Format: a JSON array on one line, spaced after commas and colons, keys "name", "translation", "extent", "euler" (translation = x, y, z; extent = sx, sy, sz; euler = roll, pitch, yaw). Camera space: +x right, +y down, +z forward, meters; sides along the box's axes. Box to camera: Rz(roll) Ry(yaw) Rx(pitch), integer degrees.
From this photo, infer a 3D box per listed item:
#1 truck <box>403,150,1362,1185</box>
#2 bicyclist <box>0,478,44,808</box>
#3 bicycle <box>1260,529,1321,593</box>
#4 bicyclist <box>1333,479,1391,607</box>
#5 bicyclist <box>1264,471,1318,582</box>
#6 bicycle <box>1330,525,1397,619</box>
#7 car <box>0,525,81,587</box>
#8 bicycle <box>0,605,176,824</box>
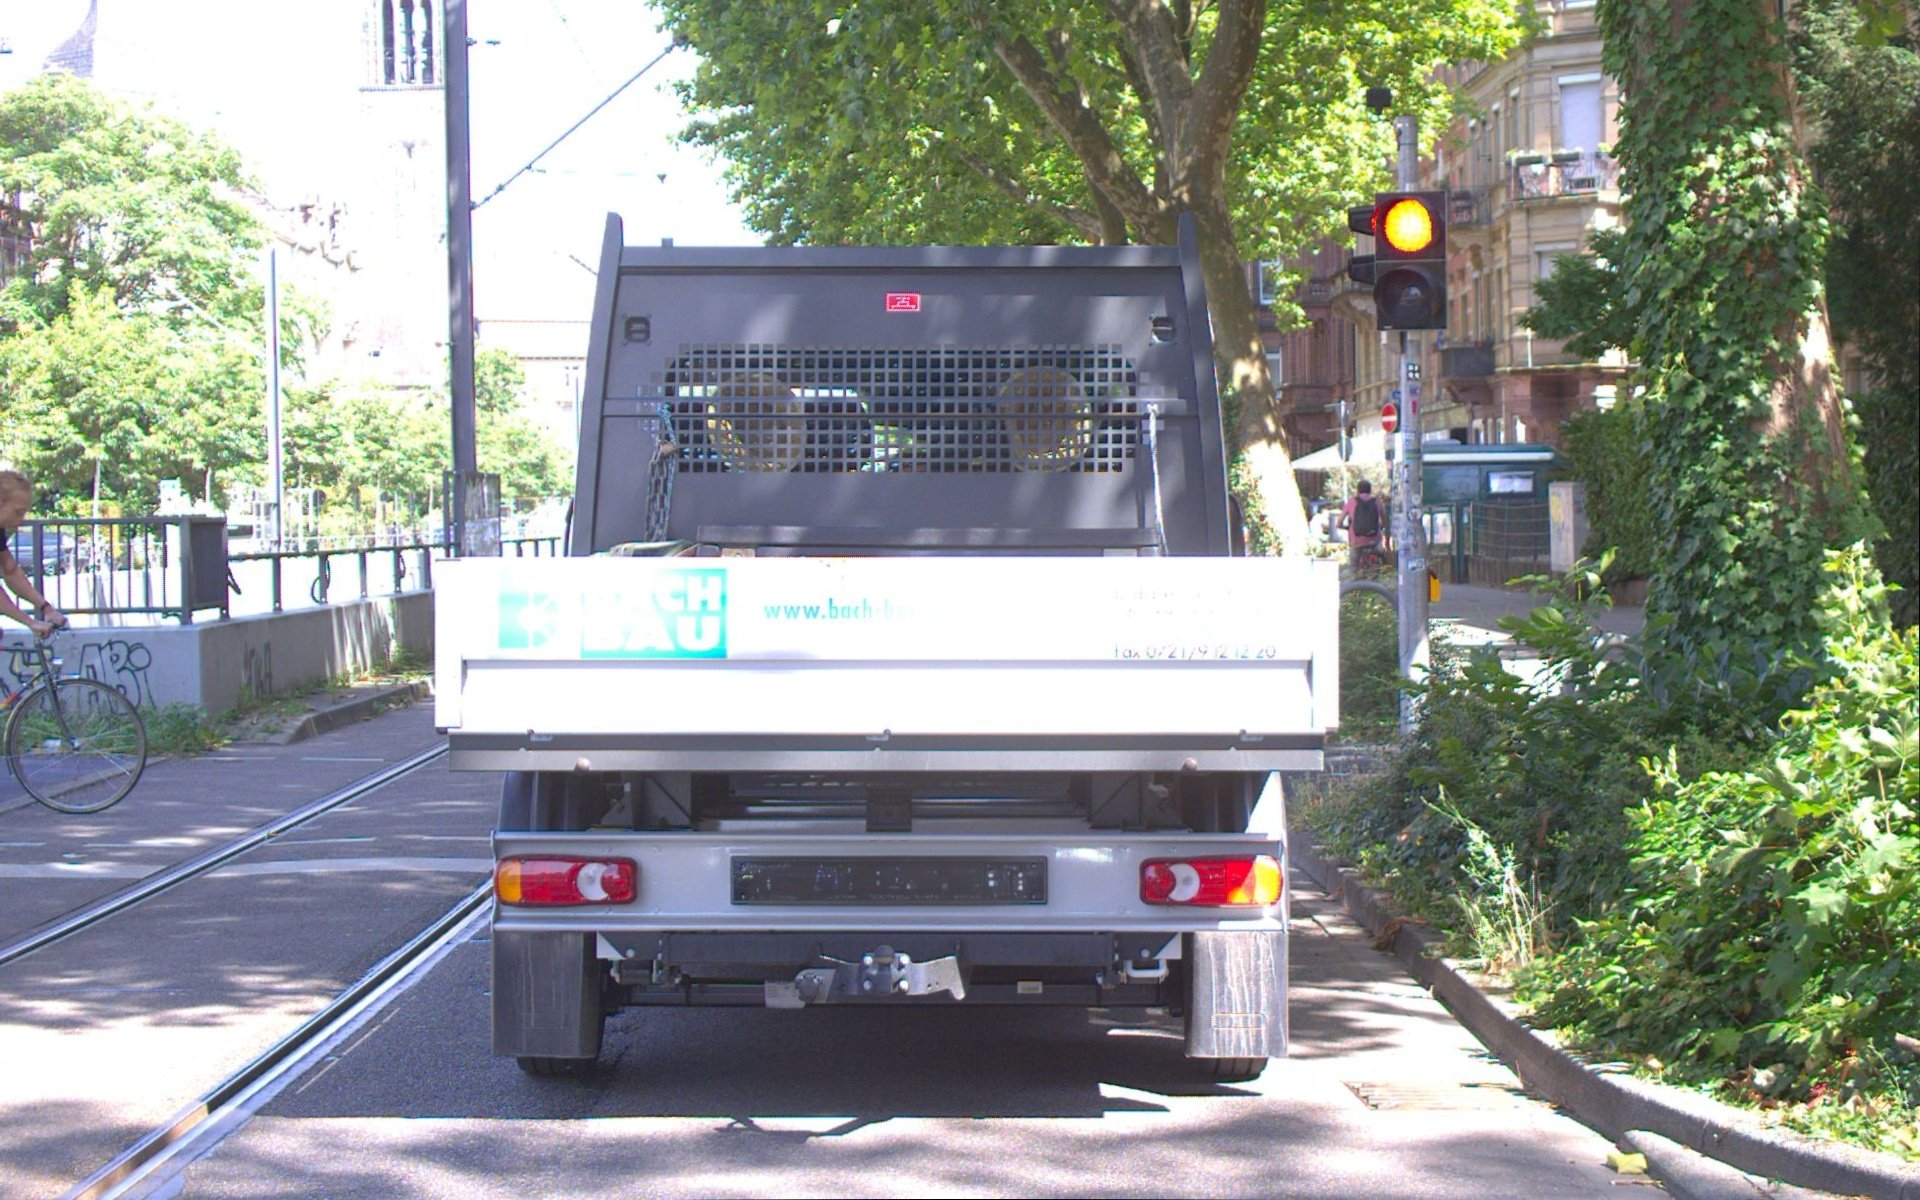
[{"name": "truck", "translation": [-0.170, 0.099, 9.993], "extent": [2.138, 2.311, 4.402], "euler": [1, 1, 0]}, {"name": "bicyclist", "translation": [-5.004, 0.193, 17.151], "extent": [0.692, 1.617, 0.625], "euler": [2, 1, -4]}, {"name": "bicycle", "translation": [4.736, -0.573, 49.338], "extent": [0.675, 0.878, 2.163], "euler": [-1, 2, 1]}, {"name": "bicyclist", "translation": [4.996, -0.711, 42.718], "extent": [0.638, 1.568, 0.579], "euler": [-1, 1, 1]}, {"name": "bicyclist", "translation": [4.727, -1.055, 49.183], "extent": [0.680, 1.558, 0.777], "euler": [-1, 1, 1]}, {"name": "bicycle", "translation": [5.010, -0.365, 42.746], "extent": [0.565, 1.108, 2.310], "euler": [-1, 2, 1]}, {"name": "car", "translation": [-23.531, -1.123, 86.717], "extent": [1.770, 1.493, 4.001], "euler": [-1, 1, -2]}, {"name": "bicycle", "translation": [-4.940, 0.553, 17.156], "extent": [1.919, 1.045, 0.533], "euler": [1, 1, -4]}]
